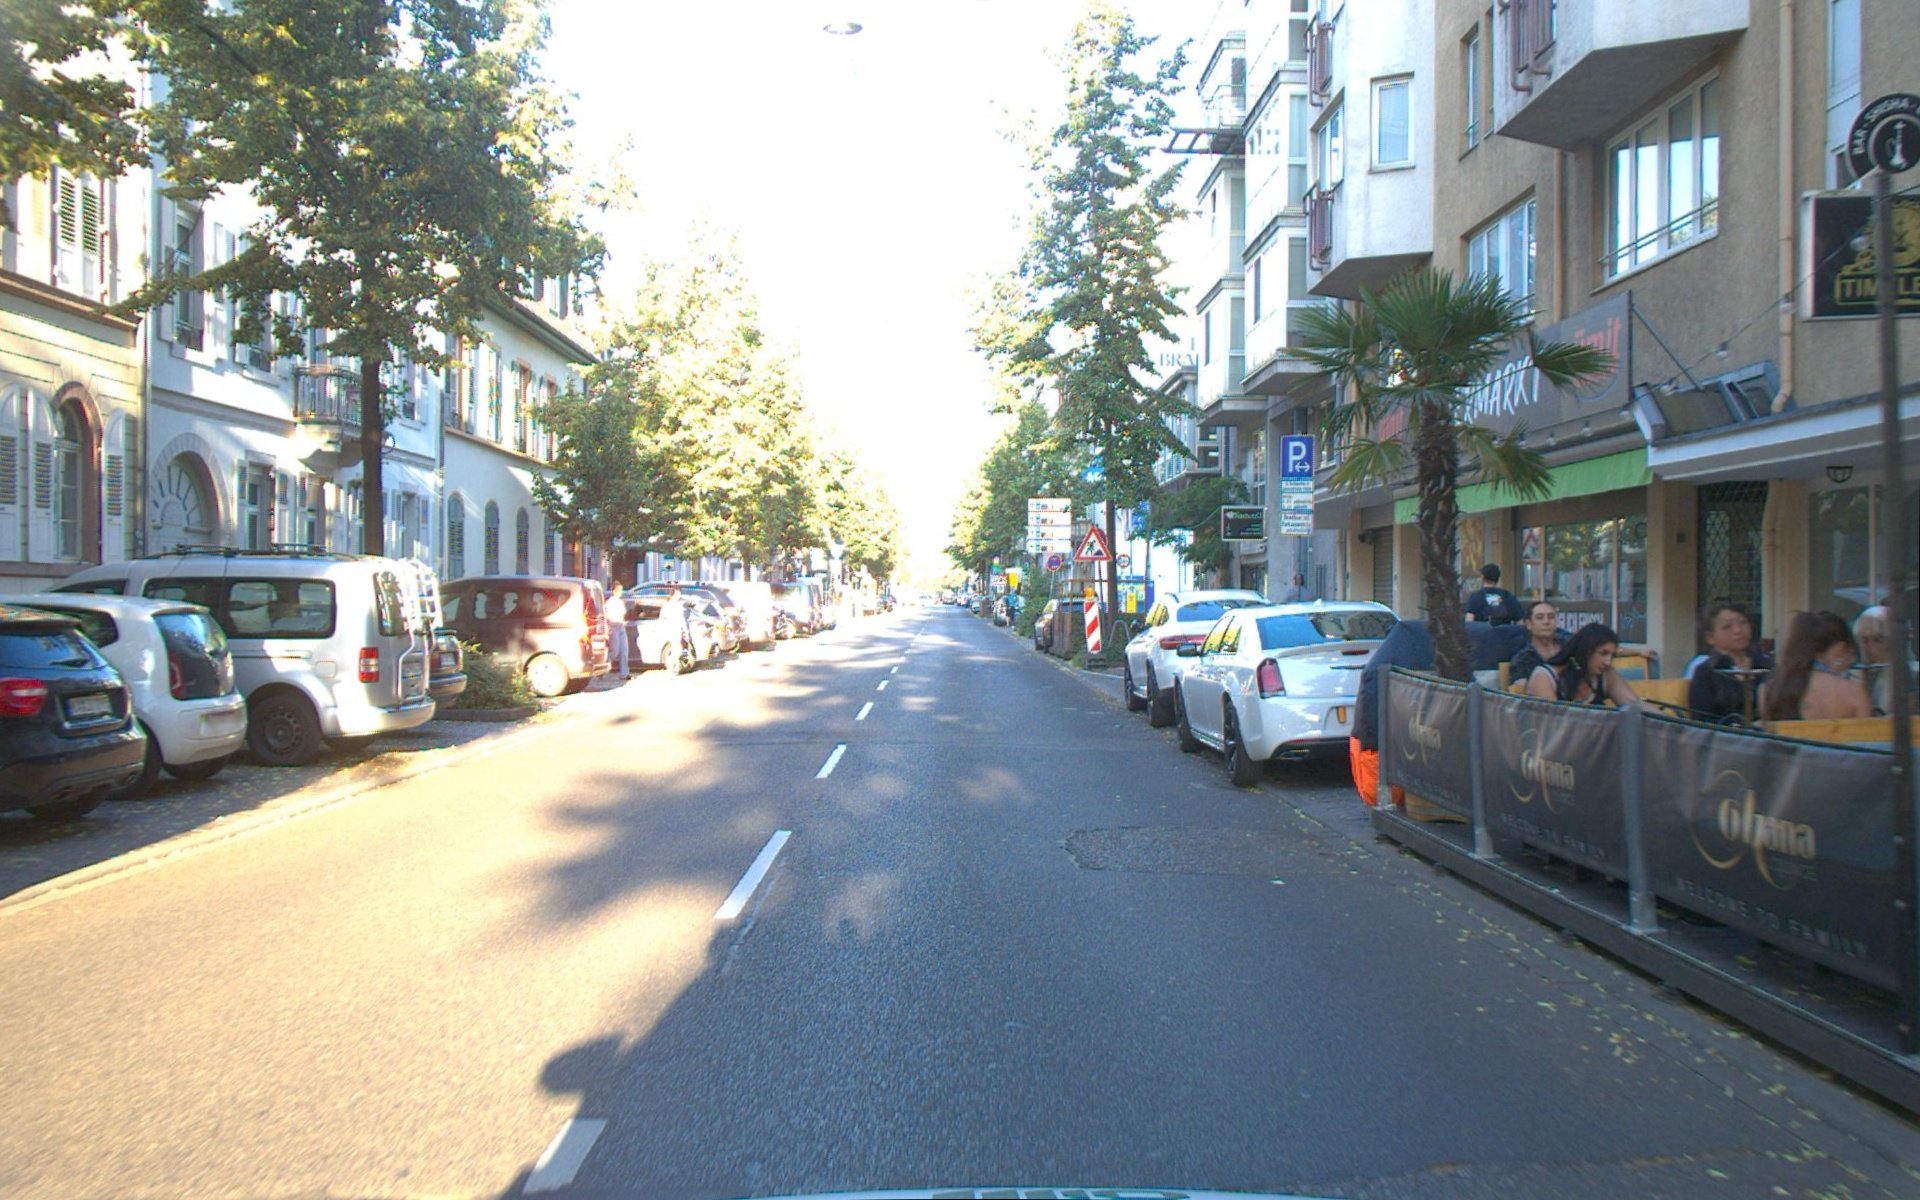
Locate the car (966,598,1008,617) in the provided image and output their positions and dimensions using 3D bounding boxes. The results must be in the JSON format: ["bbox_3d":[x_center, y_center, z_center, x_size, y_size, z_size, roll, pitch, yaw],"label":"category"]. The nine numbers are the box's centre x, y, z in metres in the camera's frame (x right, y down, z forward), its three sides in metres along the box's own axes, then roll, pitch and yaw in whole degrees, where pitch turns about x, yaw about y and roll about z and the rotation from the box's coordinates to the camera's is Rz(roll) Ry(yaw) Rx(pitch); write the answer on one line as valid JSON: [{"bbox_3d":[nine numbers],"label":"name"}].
[{"bbox_3d":[2.370,0.682,144.389,1.645,1.616,3.800,1,0,42],"label":"car"}]

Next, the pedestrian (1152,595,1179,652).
[{"bbox_3d":[5.602,0.634,45.075,0.598,1.552,0.773,-1,0,0],"label":"pedestrian"}]

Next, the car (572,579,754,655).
[{"bbox_3d":[-7.621,0.427,42.756,4.337,1.903,1.894,0,0,0],"label":"car"}]

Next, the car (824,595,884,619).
[{"bbox_3d":[-8.218,0.532,128.597,4.478,1.727,2.060,1,0,0],"label":"car"}]

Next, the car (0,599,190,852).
[{"bbox_3d":[-7.116,0.695,10.156,3.907,1.429,1.749,1,-1,-2],"label":"car"}]

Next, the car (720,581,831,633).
[{"bbox_3d":[-7.571,0.284,68.304,4.394,2.010,1.964,1,0,-3],"label":"car"}]

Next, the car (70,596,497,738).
[{"bbox_3d":[-7.419,0.711,18.376,4.066,1.465,1.594,0,0,0],"label":"car"}]

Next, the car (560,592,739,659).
[{"bbox_3d":[-7.493,0.597,40.187,3.953,1.582,1.965,0,0,2],"label":"car"}]

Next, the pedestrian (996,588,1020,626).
[{"bbox_3d":[2.403,0.336,82.203,0.995,1.857,0.778,-2,0,-10],"label":"pedestrian"}]

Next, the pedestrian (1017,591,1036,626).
[{"bbox_3d":[3.423,0.439,84.631,0.648,1.730,0.657,-2,0,-45],"label":"pedestrian"}]

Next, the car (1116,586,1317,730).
[{"bbox_3d":[3.221,0.670,21.670,1.841,1.601,4.691,-2,0,0],"label":"car"}]

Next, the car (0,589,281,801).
[{"bbox_3d":[-7.261,0.674,12.789,3.303,1.492,1.711,1,0,-5],"label":"car"}]

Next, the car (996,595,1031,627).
[{"bbox_3d":[2.852,0.585,88.112,1.652,1.602,4.012,-2,0,0],"label":"car"}]

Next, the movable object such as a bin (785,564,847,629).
[{"bbox_3d":[-6.874,-0.171,79.494,2.571,3.021,5.302,0,0,-1],"label":"movable object such as a bin"}]

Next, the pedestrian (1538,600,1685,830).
[{"bbox_3d":[3.754,0.645,9.562,0.565,1.265,0.603,-2,0,0],"label":"pedestrian"}]

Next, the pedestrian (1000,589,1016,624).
[{"bbox_3d":[2.480,0.329,84.943,0.665,1.785,0.823,0,0,-11],"label":"pedestrian"}]

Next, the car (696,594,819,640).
[{"bbox_3d":[-7.167,0.590,58.865,4.242,1.527,1.840,1,0,-6],"label":"car"}]

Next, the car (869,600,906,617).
[{"bbox_3d":[-8.846,1.083,201.495,4.351,1.994,1.919,1,0,0],"label":"car"}]

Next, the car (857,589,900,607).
[{"bbox_3d":[-8.563,-0.222,174.070,4.351,1.790,1.919,1,0,0],"label":"car"}]

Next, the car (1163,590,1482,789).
[{"bbox_3d":[3.210,0.707,15.791,1.804,1.506,5.189,-2,0,-1],"label":"car"}]

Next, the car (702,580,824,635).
[{"bbox_3d":[-7.472,0.280,63.009,4.391,2.010,2.068,1,0,0],"label":"car"}]

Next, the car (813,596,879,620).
[{"bbox_3d":[-7.956,0.559,115.639,4.454,1.568,1.810,1,0,-2],"label":"car"}]

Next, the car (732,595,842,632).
[{"bbox_3d":[-7.441,0.563,71.442,4.498,1.495,1.893,1,0,2],"label":"car"}]

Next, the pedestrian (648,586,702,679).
[{"bbox_3d":[-5.207,0.581,30.258,0.810,1.667,0.827,-1,0,0],"label":"pedestrian"}]

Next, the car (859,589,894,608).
[{"bbox_3d":[-10.633,-0.188,211.445,4.351,2.477,1.919,1,0,0],"label":"car"}]

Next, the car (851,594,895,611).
[{"bbox_3d":[-8.831,0.258,167.560,4.351,1.549,1.919,1,0,0],"label":"car"}]

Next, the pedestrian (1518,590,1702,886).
[{"bbox_3d":[3.111,0.633,7.962,0.565,1.342,0.704,-2,0,0],"label":"pedestrian"}]

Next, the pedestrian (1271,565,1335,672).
[{"bbox_3d":[5.988,0.316,28.892,0.839,1.826,0.996,-1,0,-4],"label":"pedestrian"}]

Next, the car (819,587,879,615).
[{"bbox_3d":[-8.427,0.072,125.902,4.478,1.996,1.990,1,0,-1],"label":"car"}]

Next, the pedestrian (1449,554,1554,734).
[{"bbox_3d":[5.358,0.426,16.392,0.772,1.734,0.700,-1,0,-1],"label":"pedestrian"}]

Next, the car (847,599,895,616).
[{"bbox_3d":[-8.403,0.702,156.688,4.351,1.474,1.919,1,0,0],"label":"car"}]

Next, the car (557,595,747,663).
[{"bbox_3d":[-6.966,0.639,37.728,3.955,1.509,1.962,0,0,-1],"label":"car"}]

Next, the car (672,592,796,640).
[{"bbox_3d":[-7.602,0.522,55.818,3.841,1.527,1.905,1,0,2],"label":"car"}]

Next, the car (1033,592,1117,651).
[{"bbox_3d":[3.166,0.578,46.574,1.792,1.514,4.847,-2,0,-2],"label":"car"}]

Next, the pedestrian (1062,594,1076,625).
[{"bbox_3d":[5.630,0.482,85.495,0.645,1.589,0.701,-2,0,-1],"label":"pedestrian"}]

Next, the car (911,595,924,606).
[{"bbox_3d":[-6.157,0.093,241.026,1.716,1.567,3.303,0,-1,1],"label":"car"}]

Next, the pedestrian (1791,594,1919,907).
[{"bbox_3d":[4.399,0.686,7.843,0.565,1.409,0.603,-2,0,0],"label":"pedestrian"}]

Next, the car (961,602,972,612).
[{"bbox_3d":[0.906,0.917,224.087,1.482,1.298,3.303,1,-1,1],"label":"car"}]

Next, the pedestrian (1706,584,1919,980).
[{"bbox_3d":[3.269,0.655,6.269,0.565,1.409,0.603,-2,0,0],"label":"pedestrian"}]

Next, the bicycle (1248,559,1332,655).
[{"bbox_3d":[4.690,0.090,23.648,0.759,1.284,2.050,-2,0,0],"label":"bicycle"}]

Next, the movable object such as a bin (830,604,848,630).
[{"bbox_3d":[-5.372,0.746,73.490,0.675,1.124,0.883,-1,0,1],"label":"movable object such as a bin"}]

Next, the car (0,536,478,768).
[{"bbox_3d":[-7.004,0.445,15.439,4.407,1.987,1.919,1,0,1],"label":"car"}]

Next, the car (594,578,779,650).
[{"bbox_3d":[-7.484,0.385,45.614,4.771,1.941,1.973,0,0,-1],"label":"car"}]

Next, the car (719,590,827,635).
[{"bbox_3d":[-7.382,0.480,65.676,4.045,1.665,1.860,1,0,0],"label":"car"}]

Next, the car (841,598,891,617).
[{"bbox_3d":[-8.503,0.701,150.163,4.351,1.595,1.919,1,0,0],"label":"car"}]

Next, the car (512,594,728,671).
[{"bbox_3d":[-6.679,0.629,32.829,3.977,1.487,1.685,0,0,-3],"label":"car"}]

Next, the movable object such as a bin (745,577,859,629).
[{"bbox_3d":[-7.984,0.136,84.080,2.273,2.539,5.719,0,0,42],"label":"movable object such as a bin"}]

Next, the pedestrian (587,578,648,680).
[{"bbox_3d":[-6.134,0.510,29.662,0.902,1.790,0.762,-1,0,0],"label":"pedestrian"}]

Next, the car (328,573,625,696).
[{"bbox_3d":[-7.434,0.512,25.688,4.052,1.838,1.807,0,0,1],"label":"car"}]

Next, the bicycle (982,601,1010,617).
[{"bbox_3d":[2.602,0.637,119.775,1.918,1.092,0.704,0,0,31],"label":"bicycle"}]
